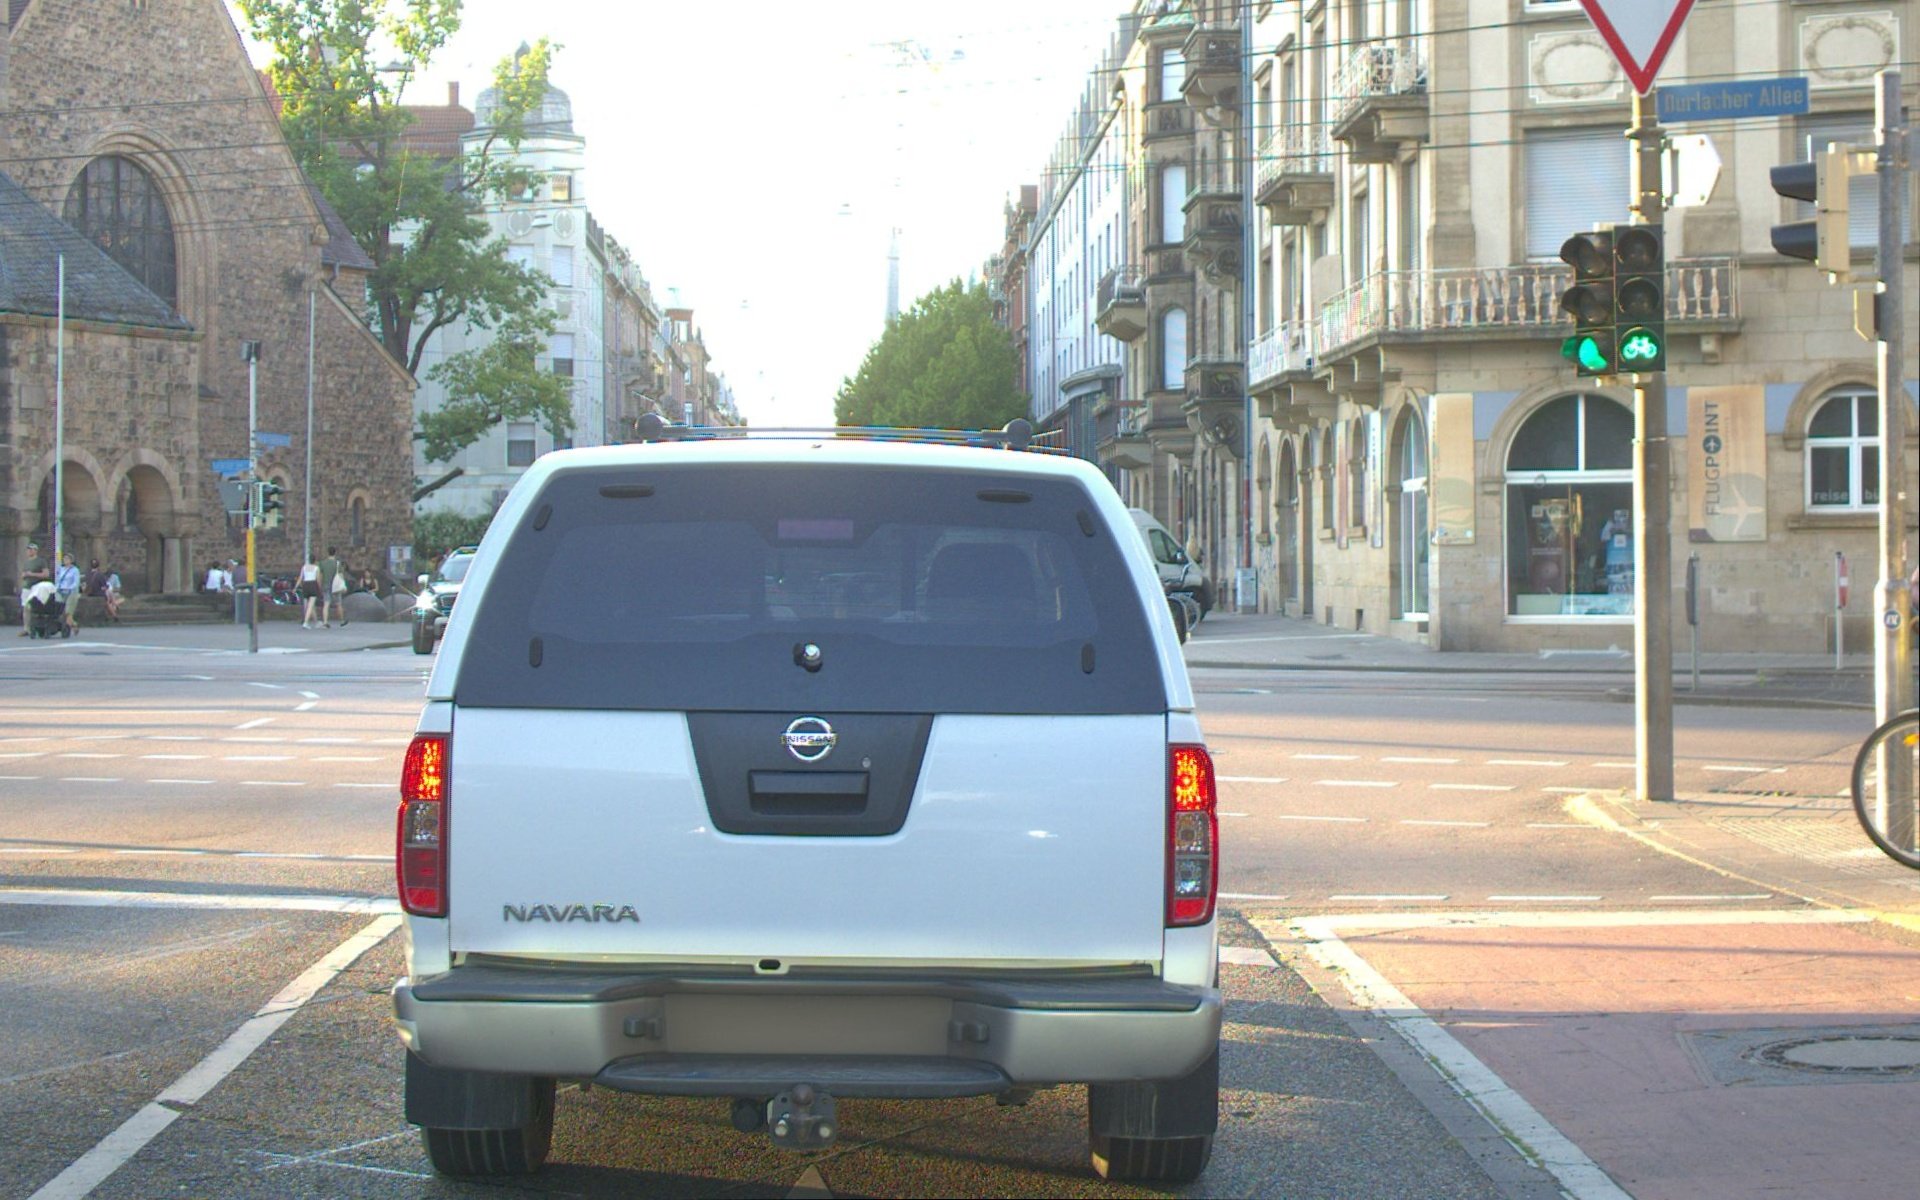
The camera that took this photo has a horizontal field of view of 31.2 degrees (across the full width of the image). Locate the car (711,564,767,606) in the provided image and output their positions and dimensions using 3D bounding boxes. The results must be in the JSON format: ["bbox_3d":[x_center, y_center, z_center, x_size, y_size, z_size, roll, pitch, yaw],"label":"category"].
[{"bbox_3d":[-8.229,-0.542,128.182,1.858,1.524,4.000,1,0,-1],"label":"car"}]

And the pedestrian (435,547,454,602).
[{"bbox_3d":[-15.881,-0.792,105.924,0.560,1.690,0.645,1,0,-8],"label":"pedestrian"}]

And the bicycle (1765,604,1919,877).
[{"bbox_3d":[4.455,0.582,14.845,2.065,1.106,0.628,1,0,-33],"label":"bicycle"}]

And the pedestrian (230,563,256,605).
[{"bbox_3d":[-16.592,-0.371,79.555,0.521,0.957,0.479,1,0,-16],"label":"pedestrian"}]

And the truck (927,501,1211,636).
[{"bbox_3d":[2.209,-0.609,68.036,5.658,2.556,2.286,0,1,-44],"label":"truck"}]

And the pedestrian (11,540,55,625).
[{"bbox_3d":[-18.727,-0.348,69.459,0.634,1.693,0.602,1,0,9],"label":"pedestrian"}]

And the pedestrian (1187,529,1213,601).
[{"bbox_3d":[5.496,-0.804,78.823,0.527,1.649,0.547,1,0,-1],"label":"pedestrian"}]

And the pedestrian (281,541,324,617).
[{"bbox_3d":[-14.631,-0.467,76.545,0.812,1.664,0.860,1,0,-2],"label":"pedestrian"}]

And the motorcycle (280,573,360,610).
[{"bbox_3d":[-17.739,-0.236,95.271,2.167,0.984,0.593,1,0,19],"label":"motorcycle"}]

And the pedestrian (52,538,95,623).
[{"bbox_3d":[-17.877,-0.387,69.312,0.634,1.693,0.602,1,0,10],"label":"pedestrian"}]

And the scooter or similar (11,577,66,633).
[{"bbox_3d":[-18.322,0.096,68.387,0.634,1.099,1.078,-1,0,11],"label":"scooter or similar"}]

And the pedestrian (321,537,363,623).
[{"bbox_3d":[-13.760,-0.443,76.534,0.812,1.894,0.666,1,0,-2],"label":"pedestrian"}]

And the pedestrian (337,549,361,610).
[{"bbox_3d":[-17.196,-0.577,96.781,0.642,1.690,0.562,1,0,-9],"label":"pedestrian"}]

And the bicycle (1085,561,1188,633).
[{"bbox_3d":[3.280,-0.059,63.856,1.817,1.233,0.412,-3,0,-2],"label":"bicycle"}]

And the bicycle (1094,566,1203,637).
[{"bbox_3d":[3.370,0.022,61.479,1.817,1.146,0.636,-3,0,-2],"label":"bicycle"}]

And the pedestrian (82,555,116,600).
[{"bbox_3d":[-18.519,-0.484,73.952,0.522,0.957,0.479,1,0,19],"label":"pedestrian"}]

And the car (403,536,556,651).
[{"bbox_3d":[-8.026,-0.147,57.802,1.993,1.778,4.798,-1,1,-2],"label":"car"}]

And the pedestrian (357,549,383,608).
[{"bbox_3d":[-17.004,-0.622,99.082,0.642,1.690,0.562,1,0,-1],"label":"pedestrian"}]

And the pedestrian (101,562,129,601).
[{"bbox_3d":[-20.968,-0.449,85.336,0.551,0.957,0.710,1,0,-23],"label":"pedestrian"}]

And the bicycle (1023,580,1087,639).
[{"bbox_3d":[1.736,0.170,62.828,1.076,1.021,0.317,-3,0,-2],"label":"bicycle"}]

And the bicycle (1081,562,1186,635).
[{"bbox_3d":[3.187,-0.024,63.131,1.817,1.233,0.478,-3,0,-2],"label":"bicycle"}]

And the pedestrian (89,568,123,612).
[{"bbox_3d":[-18.661,-0.215,75.124,0.478,0.957,0.522,1,0,29],"label":"pedestrian"}]

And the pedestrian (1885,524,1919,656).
[{"bbox_3d":[12.966,-0.130,46.495,0.788,1.773,0.543,1,0,25],"label":"pedestrian"}]

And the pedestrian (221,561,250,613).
[{"bbox_3d":[-17.137,-0.308,81.309,0.478,1.241,0.523,1,0,17],"label":"pedestrian"}]

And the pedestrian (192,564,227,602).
[{"bbox_3d":[-19.155,-0.434,87.749,0.552,0.957,0.709,1,0,20],"label":"pedestrian"}]

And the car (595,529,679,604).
[{"bbox_3d":[-8.924,-0.964,95.210,1.993,2.007,4.951,-1,1,-2],"label":"car"}]

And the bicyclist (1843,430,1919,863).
[{"bbox_3d":[4.274,0.196,14.723,0.696,1.818,0.628,1,0,-33],"label":"bicyclist"}]

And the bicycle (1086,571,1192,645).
[{"bbox_3d":[3.244,0.144,62.420,1.817,1.233,0.488,-3,0,-2],"label":"bicycle"}]

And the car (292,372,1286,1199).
[{"bbox_3d":[-0.370,0.447,8.993,1.993,1.803,4.000,1,0,-1],"label":"car"}]

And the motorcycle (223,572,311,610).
[{"bbox_3d":[-18.738,-0.241,92.982,2.243,0.984,0.708,1,0,-6],"label":"motorcycle"}]

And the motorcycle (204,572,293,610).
[{"bbox_3d":[-18.810,-0.236,90.954,2.243,0.984,0.708,1,0,-6],"label":"motorcycle"}]

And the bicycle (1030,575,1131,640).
[{"bbox_3d":[2.170,0.133,61.944,1.726,1.080,0.317,-3,0,-2],"label":"bicycle"}]

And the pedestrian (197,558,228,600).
[{"bbox_3d":[-17.316,-0.487,79.662,0.522,0.957,0.479,1,0,17],"label":"pedestrian"}]

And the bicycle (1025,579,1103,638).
[{"bbox_3d":[1.921,0.154,63.539,1.371,1.021,0.317,-3,0,-2],"label":"bicycle"}]

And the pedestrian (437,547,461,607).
[{"bbox_3d":[-15.621,-0.703,105.086,0.642,1.849,0.562,1,0,-15],"label":"pedestrian"}]

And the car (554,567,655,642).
[{"bbox_3d":[-7.888,0.076,76.642,1.993,1.552,4.769,-2,1,-3],"label":"car"}]
